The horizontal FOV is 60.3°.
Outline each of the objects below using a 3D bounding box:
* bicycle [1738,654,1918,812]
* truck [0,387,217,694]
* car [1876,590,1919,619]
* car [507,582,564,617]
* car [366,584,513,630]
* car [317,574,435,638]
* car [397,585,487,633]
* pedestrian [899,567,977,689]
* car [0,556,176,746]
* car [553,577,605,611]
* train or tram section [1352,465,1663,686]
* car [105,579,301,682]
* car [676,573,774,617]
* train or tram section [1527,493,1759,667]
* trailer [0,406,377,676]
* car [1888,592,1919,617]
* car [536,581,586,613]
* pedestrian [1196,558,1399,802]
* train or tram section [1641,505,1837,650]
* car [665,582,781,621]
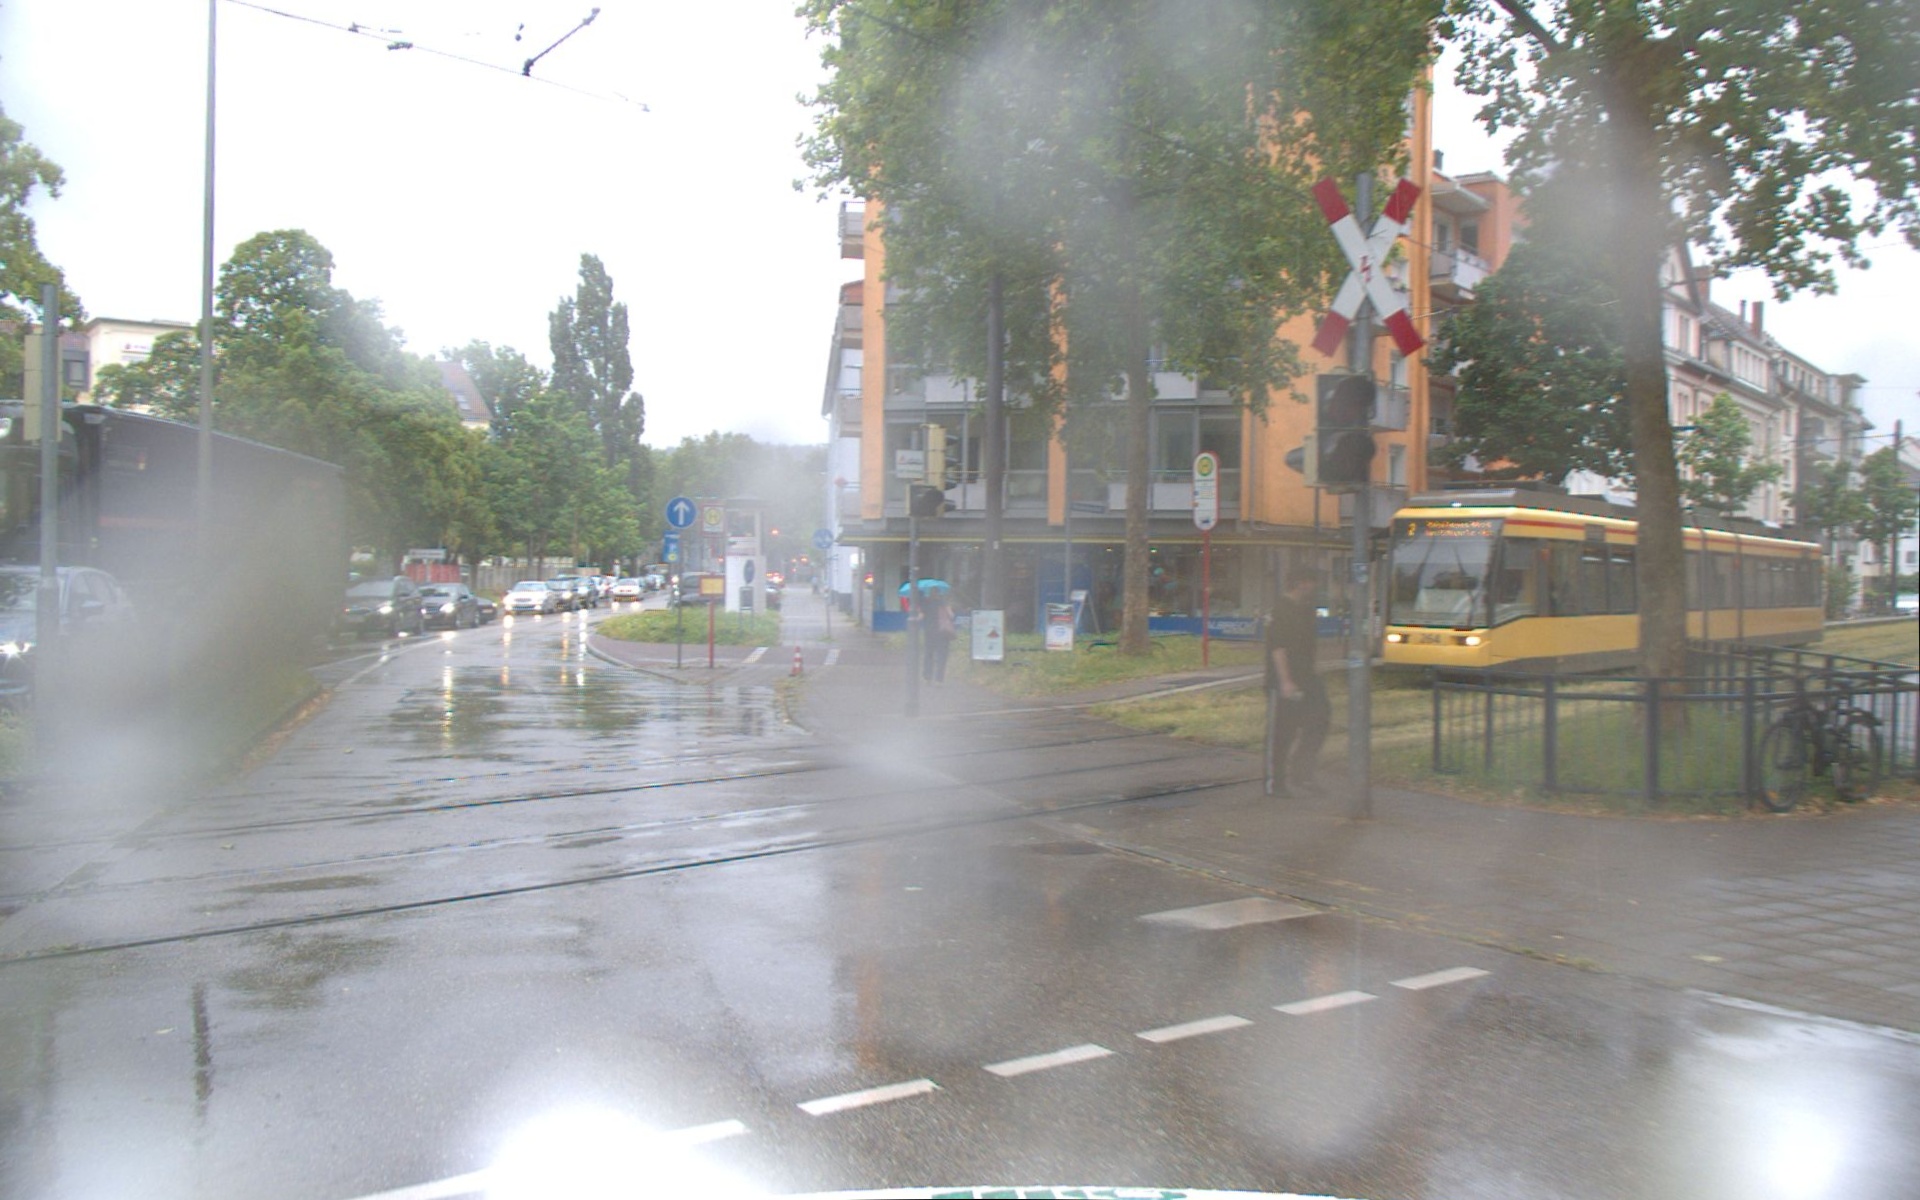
[{"bbox_3d":[6.583,0.976,12.519,1.597,1.095,0.441,0,1,-32],"label":"bicycle"},{"bbox_3d":[-14.551,-0.892,25.721,3.383,4.149,6.966,1,1,-6],"label":"truck"},{"bbox_3d":[53.820,0.253,94.866,1.958,1.559,3.989,1,1,33],"label":"car"},{"bbox_3d":[-18.357,-0.036,71.708,1.741,1.428,4.822,1,0,-7],"label":"car"},{"bbox_3d":[-18.062,0.219,57.378,4.816,1.479,2.084,1,1,27],"label":"car"},{"bbox_3d":[-15.746,0.202,44.865,1.831,1.648,4.797,0,-1,-5],"label":"car"},{"bbox_3d":[-16.089,0.258,51.579,1.692,1.385,4.334,0,1,-4],"label":"car"},{"bbox_3d":[-0.370,0.433,26.721,1.147,1.897,1.384,1,1,-5],"label":"pedestrian"},{"bbox_3d":[-10.646,0.449,18.671,2.037,1.711,4.917,3,2,-12],"label":"car"},{"bbox_3d":[-19.733,-0.320,85.774,1.876,1.668,4.817,1,0,-4],"label":"car"},{"bbox_3d":[10.092,-0.413,29.797,2.596,3.428,8.336,2,1,38],"label":"train or tram section"},{"bbox_3d":[-11.448,0.402,25.299,1.667,1.397,4.091,1,1,-9],"label":"car"},{"bbox_3d":[-10.148,-0.225,71.446,4.154,1.836,1.941,0,0,-9],"label":"car"},{"bbox_3d":[15.197,-0.426,36.378,2.595,3.409,8.339,2,1,37],"label":"train or tram section"},{"bbox_3d":[-15.202,-1.032,32.682,3.375,4.119,15.034,0,1,-5],"label":"trailer"},{"bbox_3d":[57.155,0.262,99.580,1.958,1.422,3.989,2,1,33],"label":"car"},{"bbox_3d":[-19.015,-0.146,78.977,1.744,1.445,4.260,0,1,-6],"label":"car"},{"bbox_3d":[2.660,0.588,13.135,1.024,1.820,1.225,0,1,-30],"label":"pedestrian"},{"bbox_3d":[20.747,-0.556,43.654,2.595,3.409,9.943,2,1,37],"label":"train or tram section"},{"bbox_3d":[-9.276,0.051,65.065,4.445,1.496,1.981,0,0,-6],"label":"car"}]
